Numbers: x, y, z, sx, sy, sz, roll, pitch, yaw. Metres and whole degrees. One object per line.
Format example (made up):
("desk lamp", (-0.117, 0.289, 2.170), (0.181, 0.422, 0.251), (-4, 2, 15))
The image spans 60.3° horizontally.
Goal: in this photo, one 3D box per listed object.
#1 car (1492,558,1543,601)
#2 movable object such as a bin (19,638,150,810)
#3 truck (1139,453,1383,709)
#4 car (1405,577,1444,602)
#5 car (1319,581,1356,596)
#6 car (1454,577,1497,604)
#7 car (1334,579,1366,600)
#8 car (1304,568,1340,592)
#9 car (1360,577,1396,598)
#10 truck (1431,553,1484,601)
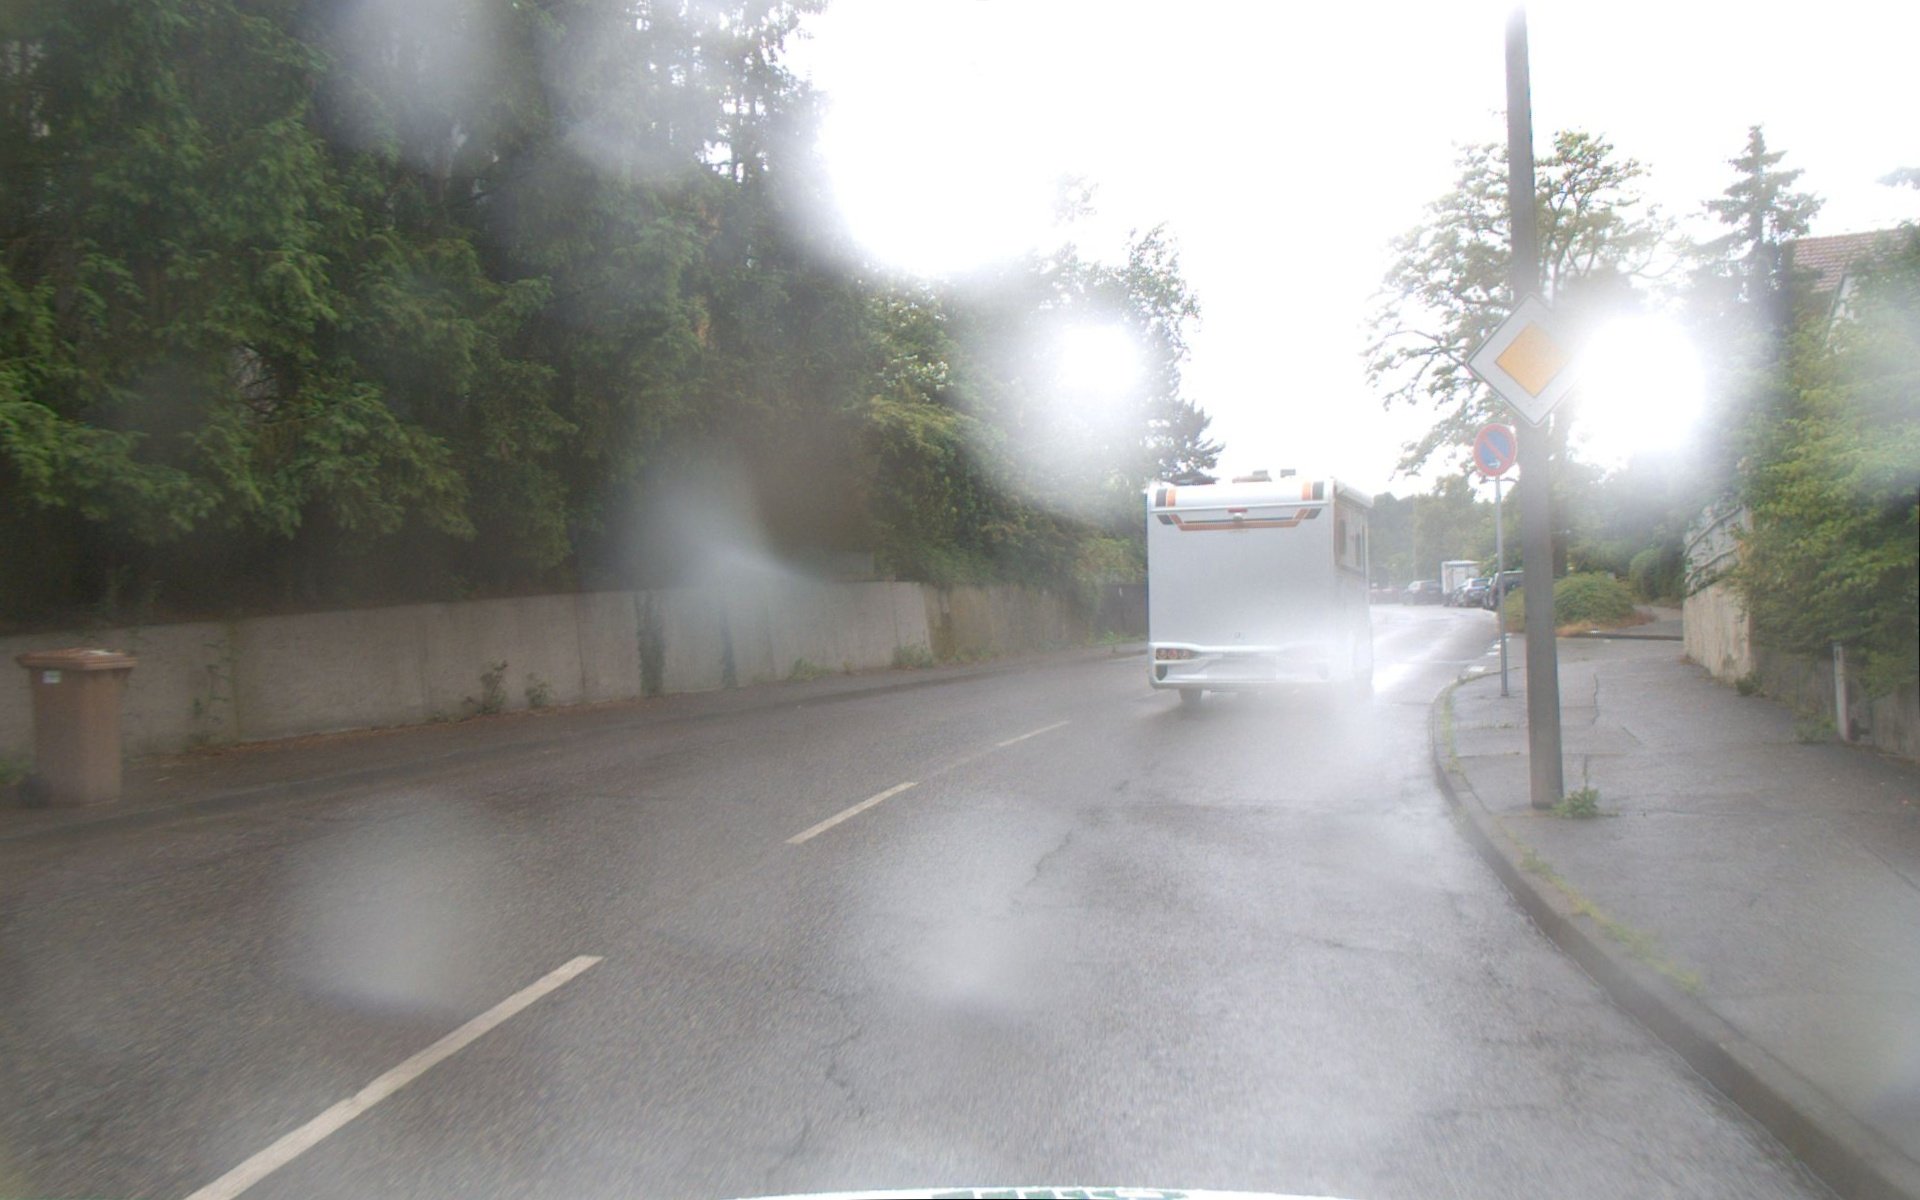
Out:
("car", (24.300, -0.877, 72.040), (1.952, 1.669, 4.000), (2, -1, 20))
("movable object such as a bin", (-5.371, 0.746, 10.162), (0.489, 0.996, 0.490), (2, 1, 11))
("truck", (4.162, -0.241, 21.827), (2.462, 2.867, 6.205), (0, 0, 17))
("car", (28.882, -0.652, 102.916), (1.652, 1.489, 3.387), (0, 0, 3))
("car", (28.757, -0.875, 126.065), (1.614, 1.120, 3.996), (-1, 1, -5))
("car", (27.013, -0.496, 86.737), (1.507, 1.350, 4.004), (-1, 1, 8))
("car", (28.423, -0.758, 120.526), (1.508, 1.350, 4.001), (3, -1, 2))
("car", (28.782, -1.595, 131.559), (1.614, 1.751, 3.995), (2, -1, -5))
("car", (29.114, -0.866, 115.293), (1.509, 1.350, 3.863), (2, -1, -1))
("truck", (27.992, -1.288, 93.194), (1.951, 2.618, 4.837), (0, 0, 6))
